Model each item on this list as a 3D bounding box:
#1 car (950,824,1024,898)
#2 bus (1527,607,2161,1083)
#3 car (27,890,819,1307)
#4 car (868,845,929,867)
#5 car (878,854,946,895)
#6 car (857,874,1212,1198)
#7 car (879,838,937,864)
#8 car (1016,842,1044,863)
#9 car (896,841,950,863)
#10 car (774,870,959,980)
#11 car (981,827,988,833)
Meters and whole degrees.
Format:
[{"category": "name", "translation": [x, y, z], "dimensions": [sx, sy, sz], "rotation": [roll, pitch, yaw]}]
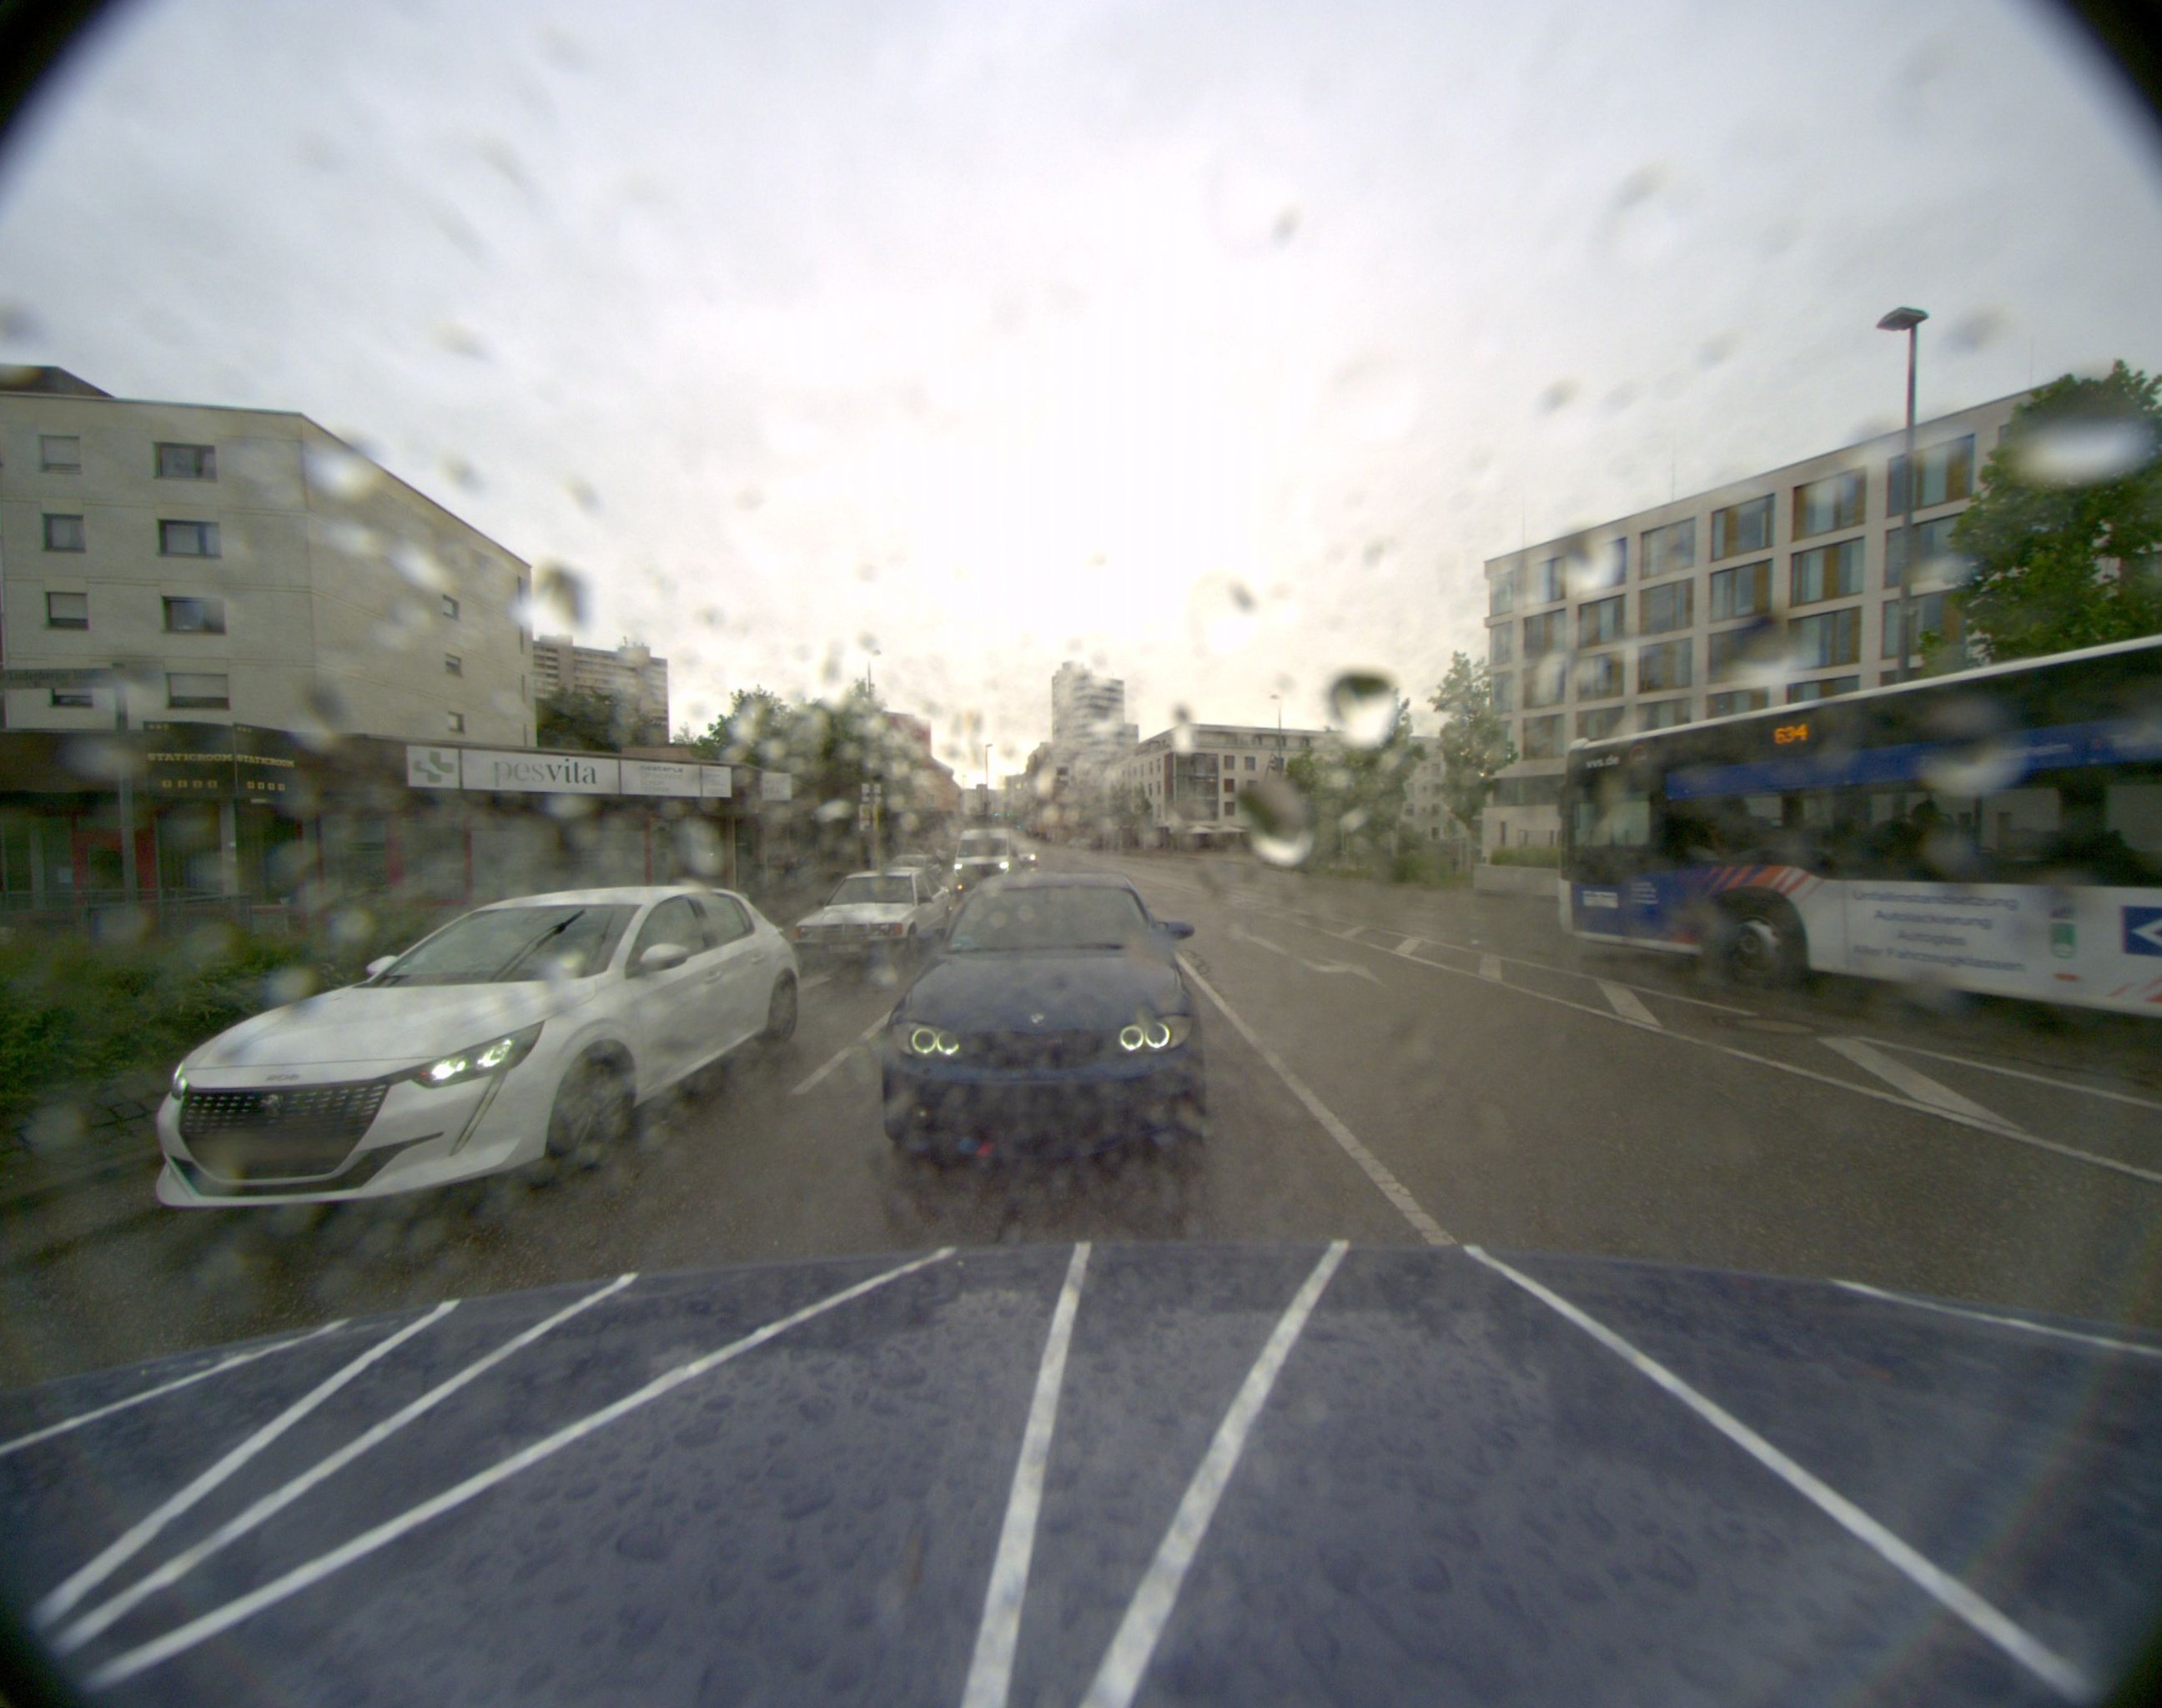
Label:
[{"category": "car", "translation": [-3.468, 0.190, 29.266], "dimensions": [2.197, 2.503, 6.120], "rotation": [-1, 1, -2]}, {"category": "bus", "translation": [8.228, -0.082, 6.305], "dimensions": [2.801, 3.096, 8.875], "rotation": [-1, 1, -9]}, {"category": "car", "translation": [-3.354, 1.086, 5.115], "dimensions": [1.666, 1.407, 4.114], "rotation": [-2, 1, 1]}, {"category": "car", "translation": [-12.679, 0.117, 53.045], "dimensions": [4.000, 1.419, 1.882], "rotation": [-1, 1, -10]}, {"category": "car", "translation": [-6.935, 0.806, 31.604], "dimensions": [1.788, 1.481, 4.000], "rotation": [-2, 1, 1]}, {"category": "car", "translation": [-0.268, 0.943, 5.717], "dimensions": [1.693, 1.380, 3.999], "rotation": [-2, 1, -1]}, {"category": "car", "translation": [-12.572, -0.234, 55.523], "dimensions": [4.000, 1.769, 1.882], "rotation": [-1, 1, -10]}, {"category": "car", "translation": [-3.882, -0.124, 58.819], "dimensions": [1.803, 1.530, 3.999], "rotation": [-2, 1, 1]}, {"category": "car", "translation": [-12.192, -0.153, 58.892], "dimensions": [4.000, 1.584, 1.883], "rotation": [-1, -1, -10]}, {"category": "car", "translation": [-3.322, 1.040, 12.663], "dimensions": [1.788, 1.338, 4.162], "rotation": [-2, 1, 1]}, {"category": "car", "translation": [-26.808, -6.734, 211.774], "dimensions": [1.666, 1.625, 3.801], "rotation": [-2, 1, -11]}]
